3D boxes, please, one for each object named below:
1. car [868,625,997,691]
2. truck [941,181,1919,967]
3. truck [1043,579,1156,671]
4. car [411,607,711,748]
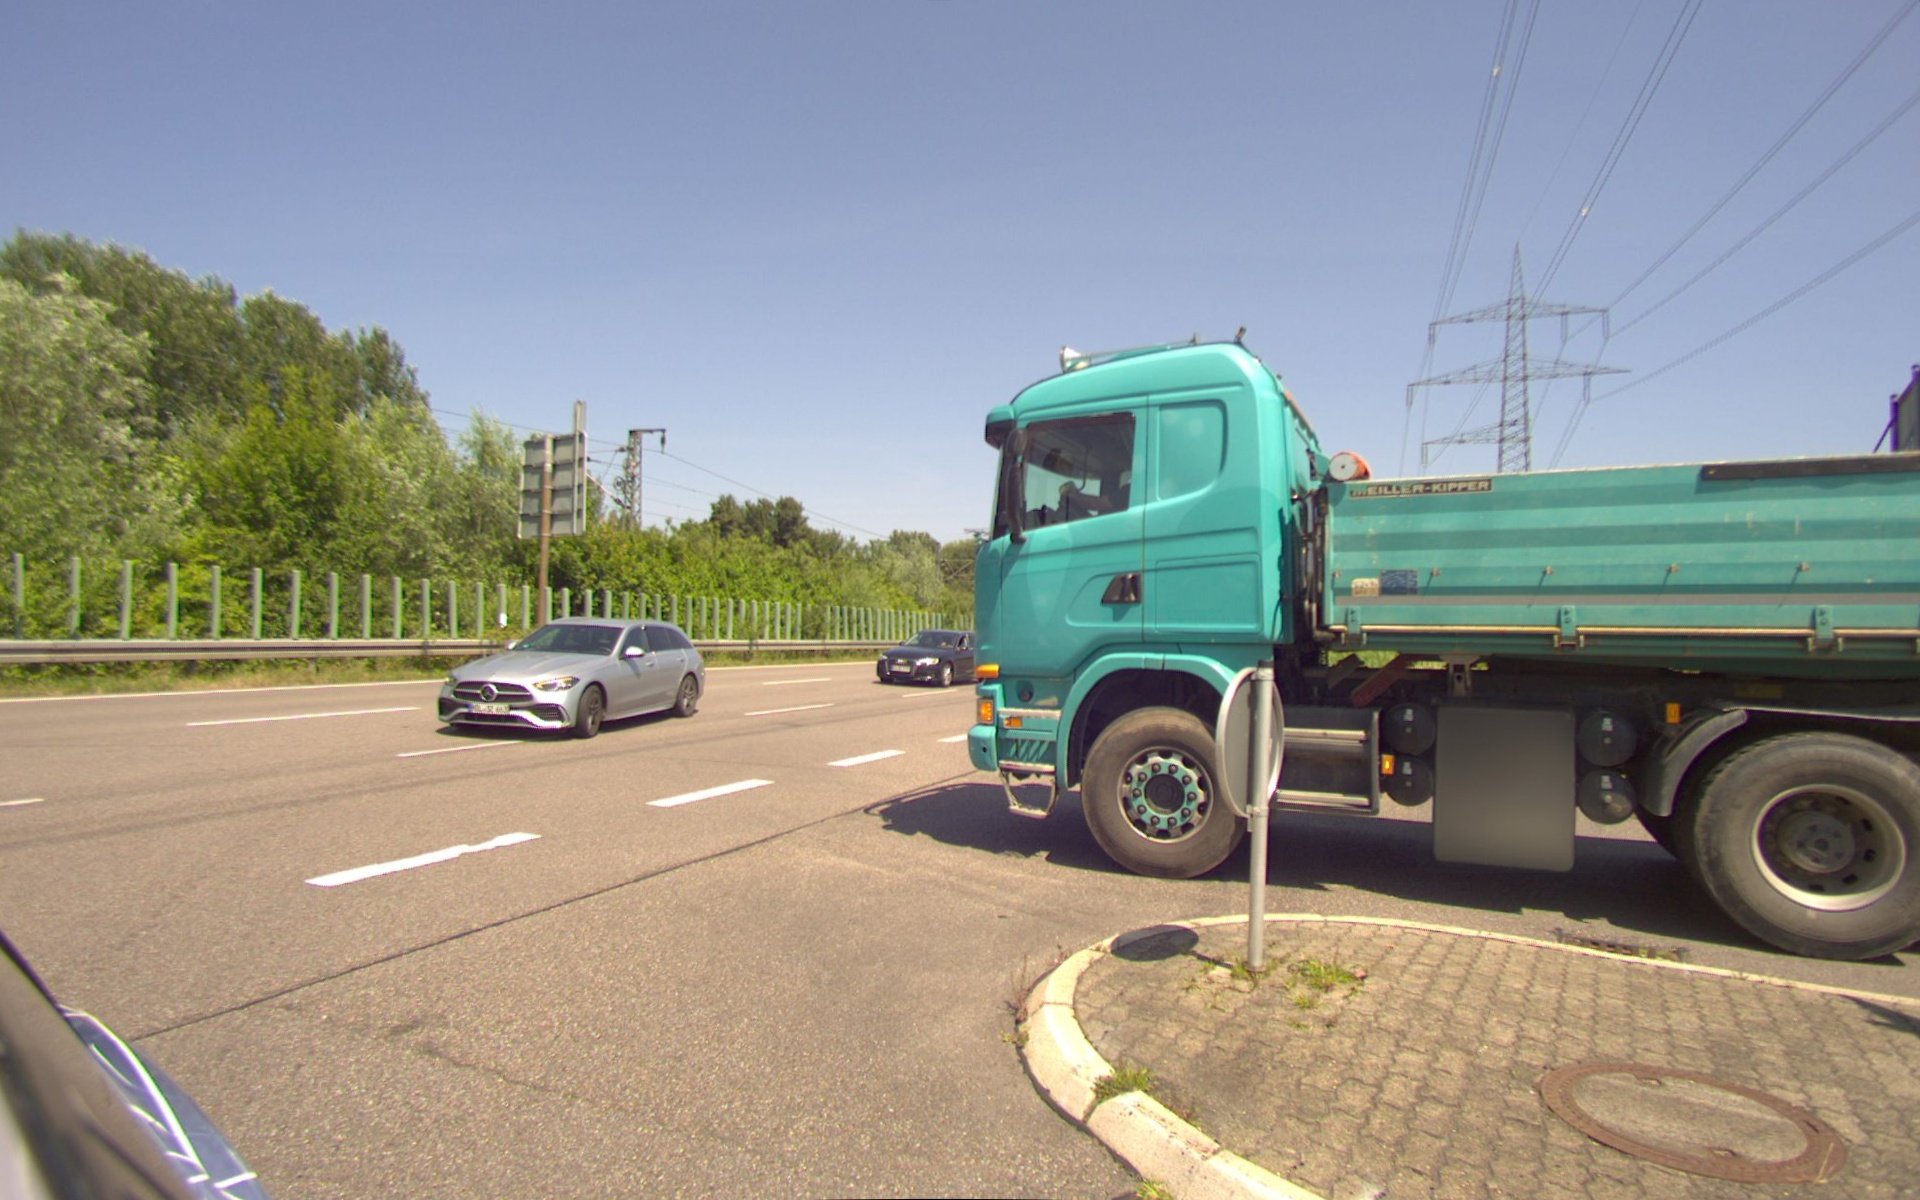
[{"bbox_3d":[-0.609,1.443,26.111,1.813,1.450,4.119,3,-1,21],"label":"car"},{"bbox_3d":[3.812,-0.070,6.214,7.574,3.498,2.585,-1,-3,28],"label":"truck"},{"bbox_3d":[6.383,1.028,44.656,2.707,3.606,9.484,0,-1,22],"label":"truck"},{"bbox_3d":[-5.129,0.937,13.709,1.806,1.498,4.134,3,-1,11],"label":"car"}]
